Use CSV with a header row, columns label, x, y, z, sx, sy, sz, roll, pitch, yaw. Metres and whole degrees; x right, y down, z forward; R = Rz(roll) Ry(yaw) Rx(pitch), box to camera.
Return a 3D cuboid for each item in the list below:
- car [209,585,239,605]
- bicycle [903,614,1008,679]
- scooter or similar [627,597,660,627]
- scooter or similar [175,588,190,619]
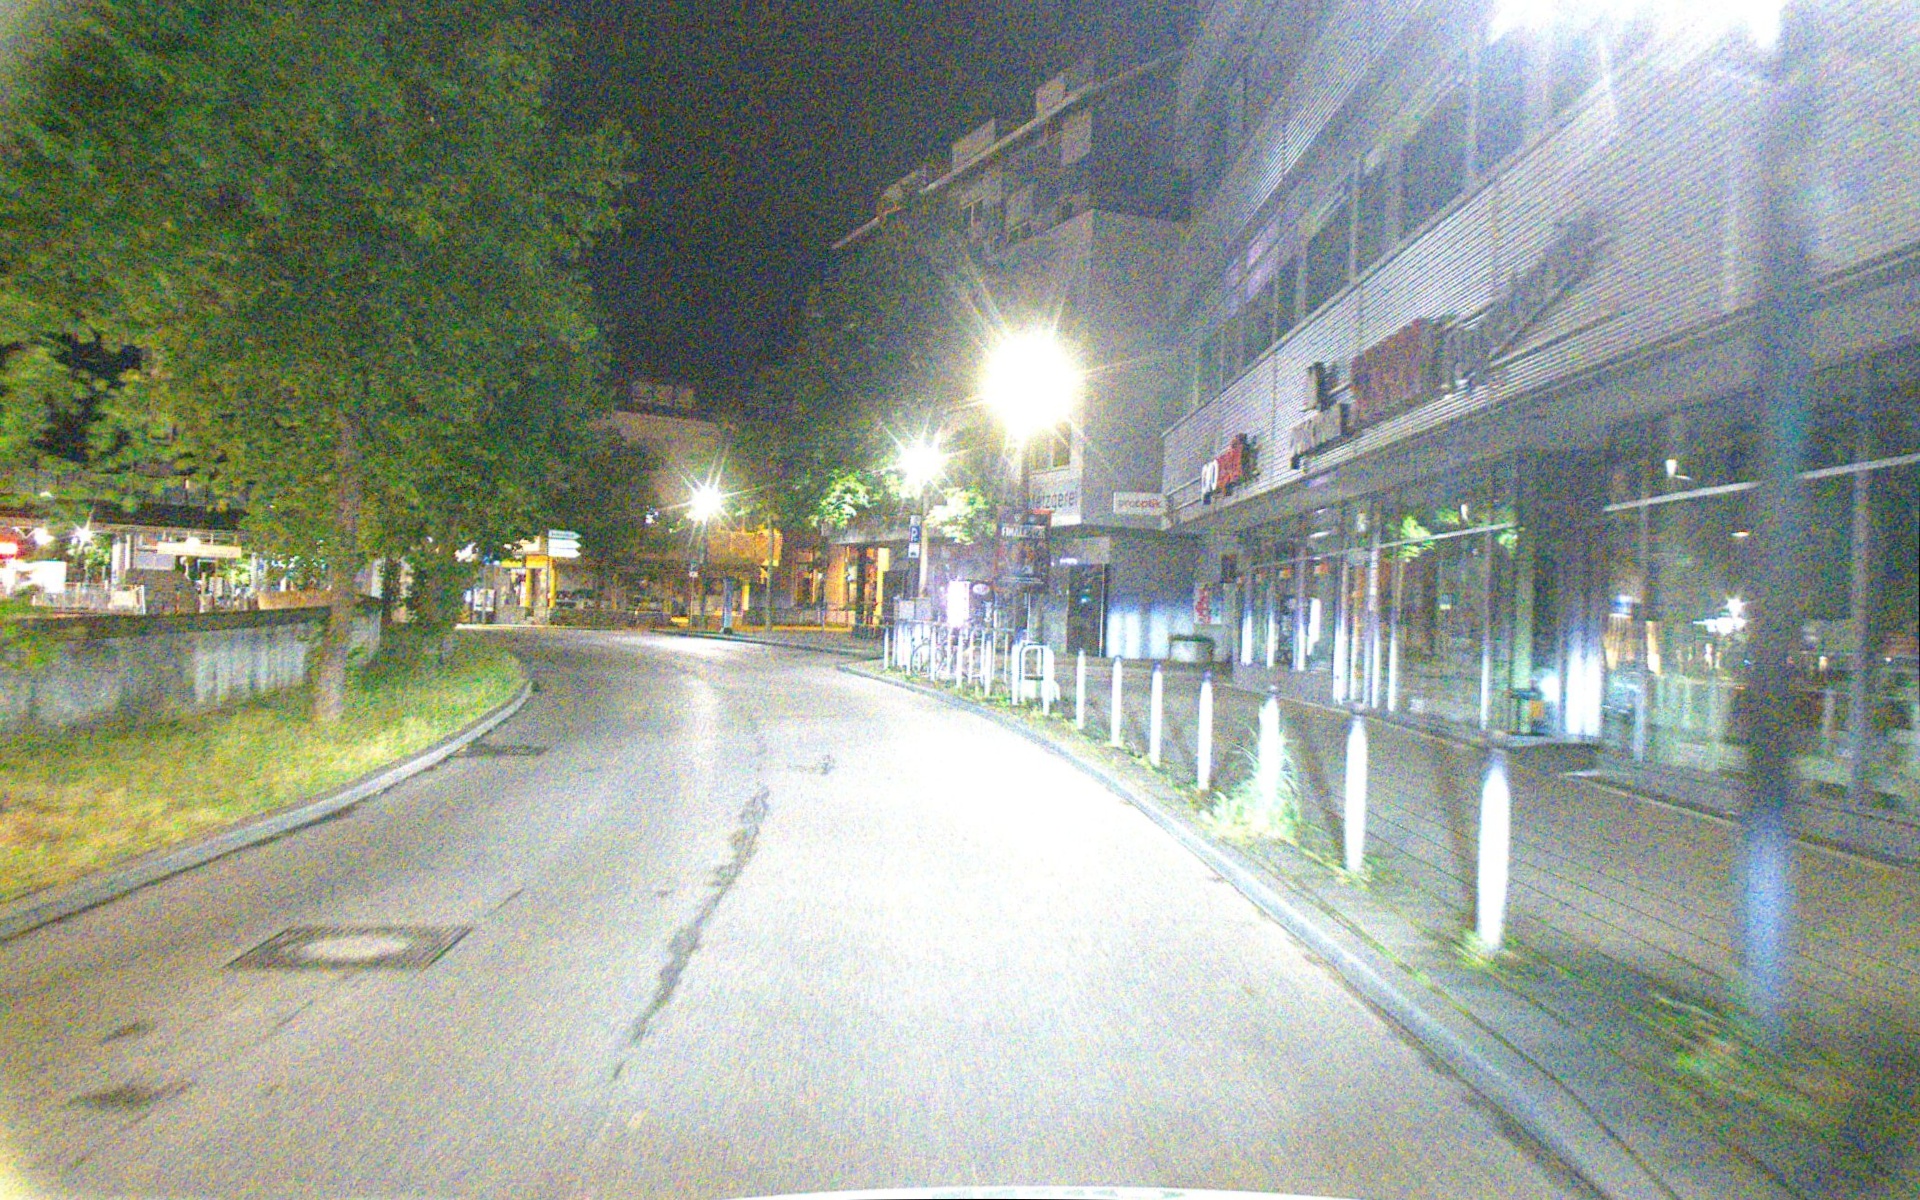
label,x,y,z,sx,sy,sz,roll,pitch,yaw
car,-62.539,-0.433,140.494,1.695,1.574,3.496,0,1,-35
bicycle,-0.074,0.830,29.441,1.727,1.081,0.650,2,0,-25
scooter or similar,-13.765,0.529,72.000,1.232,1.248,0.593,3,0,-28
scooter or similar,-34.042,0.149,72.376,0.426,1.307,1.133,0,1,-34
